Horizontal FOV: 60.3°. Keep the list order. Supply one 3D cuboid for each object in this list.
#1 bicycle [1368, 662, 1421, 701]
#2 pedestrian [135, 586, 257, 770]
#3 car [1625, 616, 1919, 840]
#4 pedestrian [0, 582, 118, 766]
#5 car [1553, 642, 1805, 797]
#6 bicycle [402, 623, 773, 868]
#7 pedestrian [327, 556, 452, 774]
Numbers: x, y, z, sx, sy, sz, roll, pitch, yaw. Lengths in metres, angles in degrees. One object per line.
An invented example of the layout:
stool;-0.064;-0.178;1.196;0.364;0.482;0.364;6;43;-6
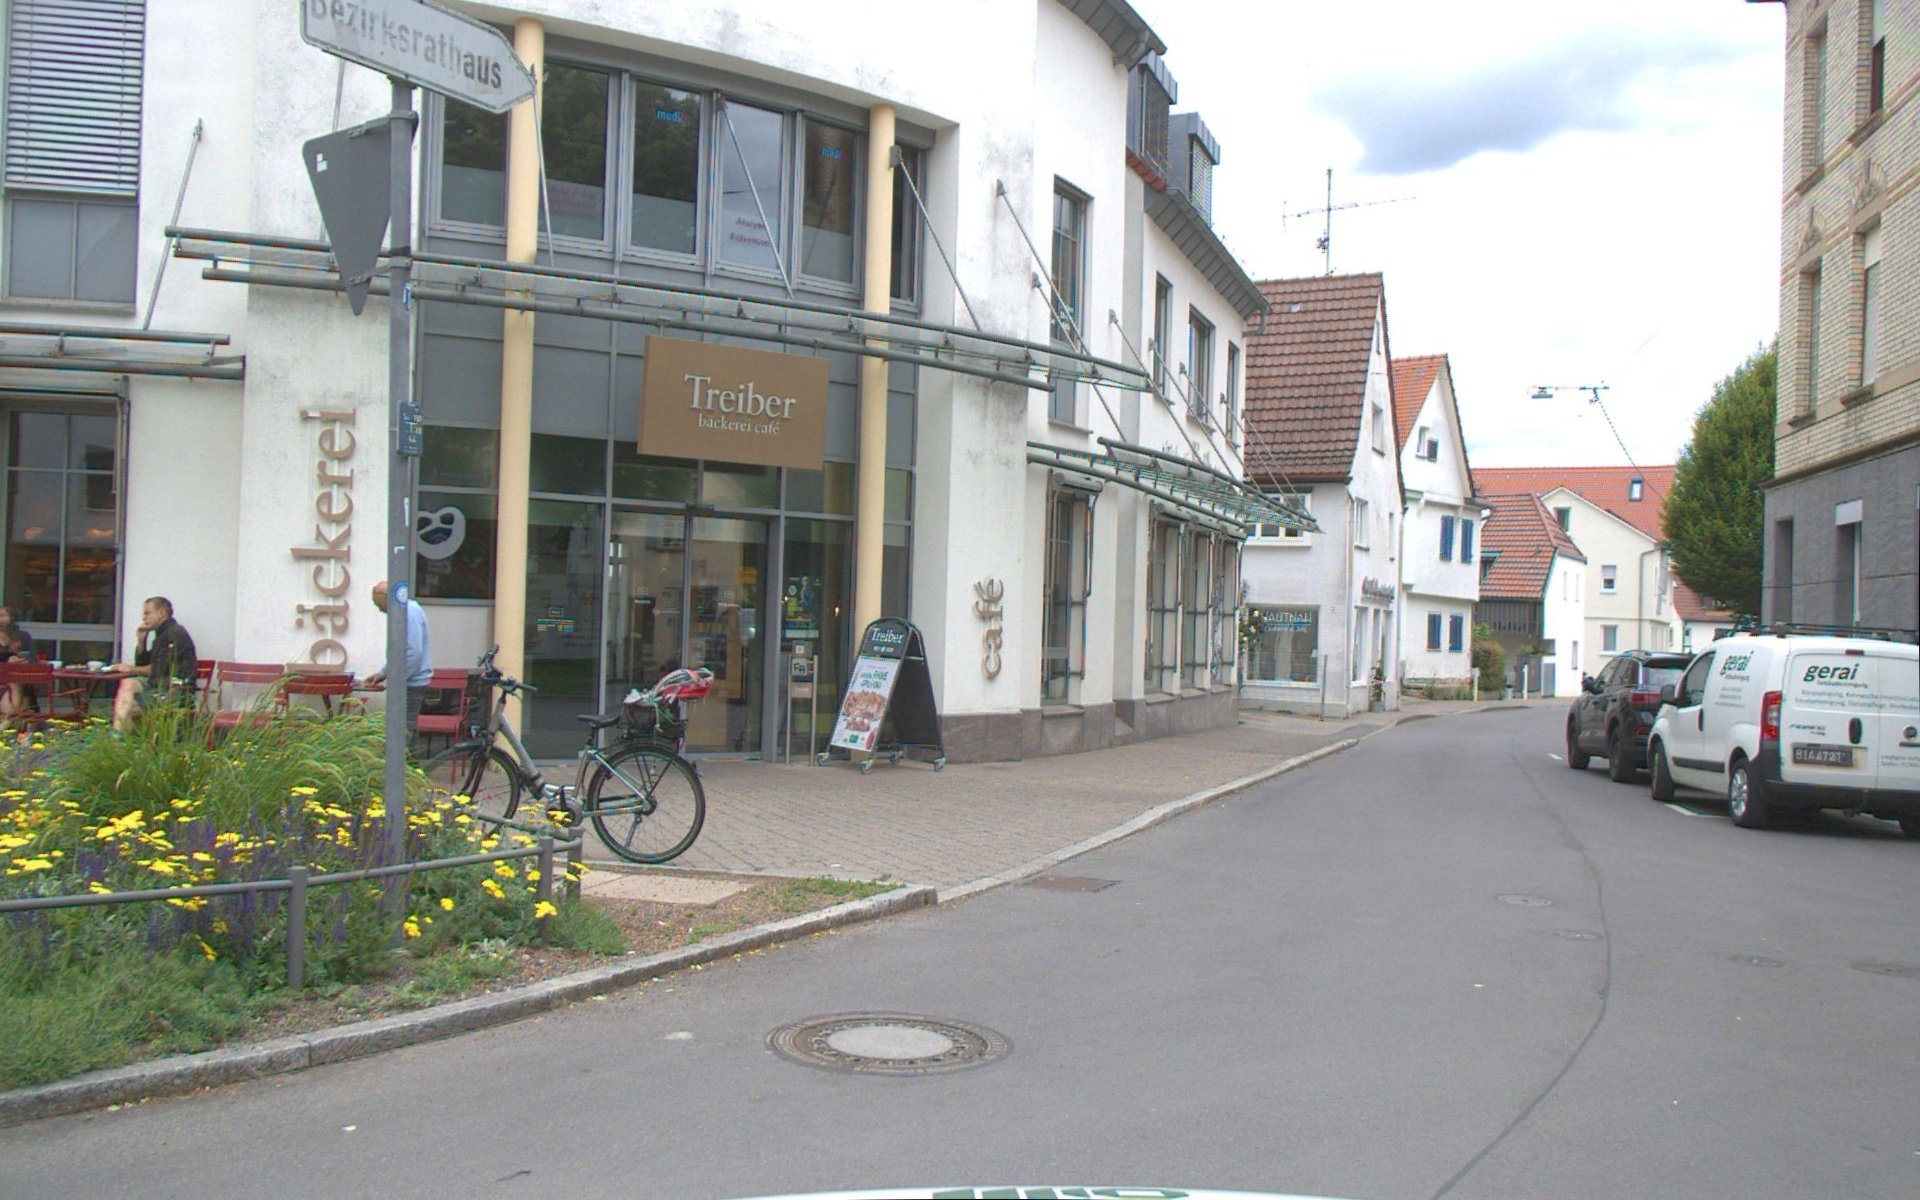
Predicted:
bicycle;12.347;2.323;46.976;0.436;1.056;2.078;7;2;43
pedestrian;-5.901;0.586;12.813;0.643;1.365;0.694;2;0;-9
car;8.016;1.136;16.115;1.787;1.823;4.221;3;-1;8
pedestrian;-6.995;0.553;12.729;0.687;1.355;0.683;2;0;-9
car;8.904;1.407;20.885;1.750;1.628;4.545;3;-1;9
bicycle;-2.150;0.822;9.706;1.933;1.261;0.744;3;0;3
pedestrian;-4.264;0.470;12.413;0.687;1.552;0.866;2;0;-9
